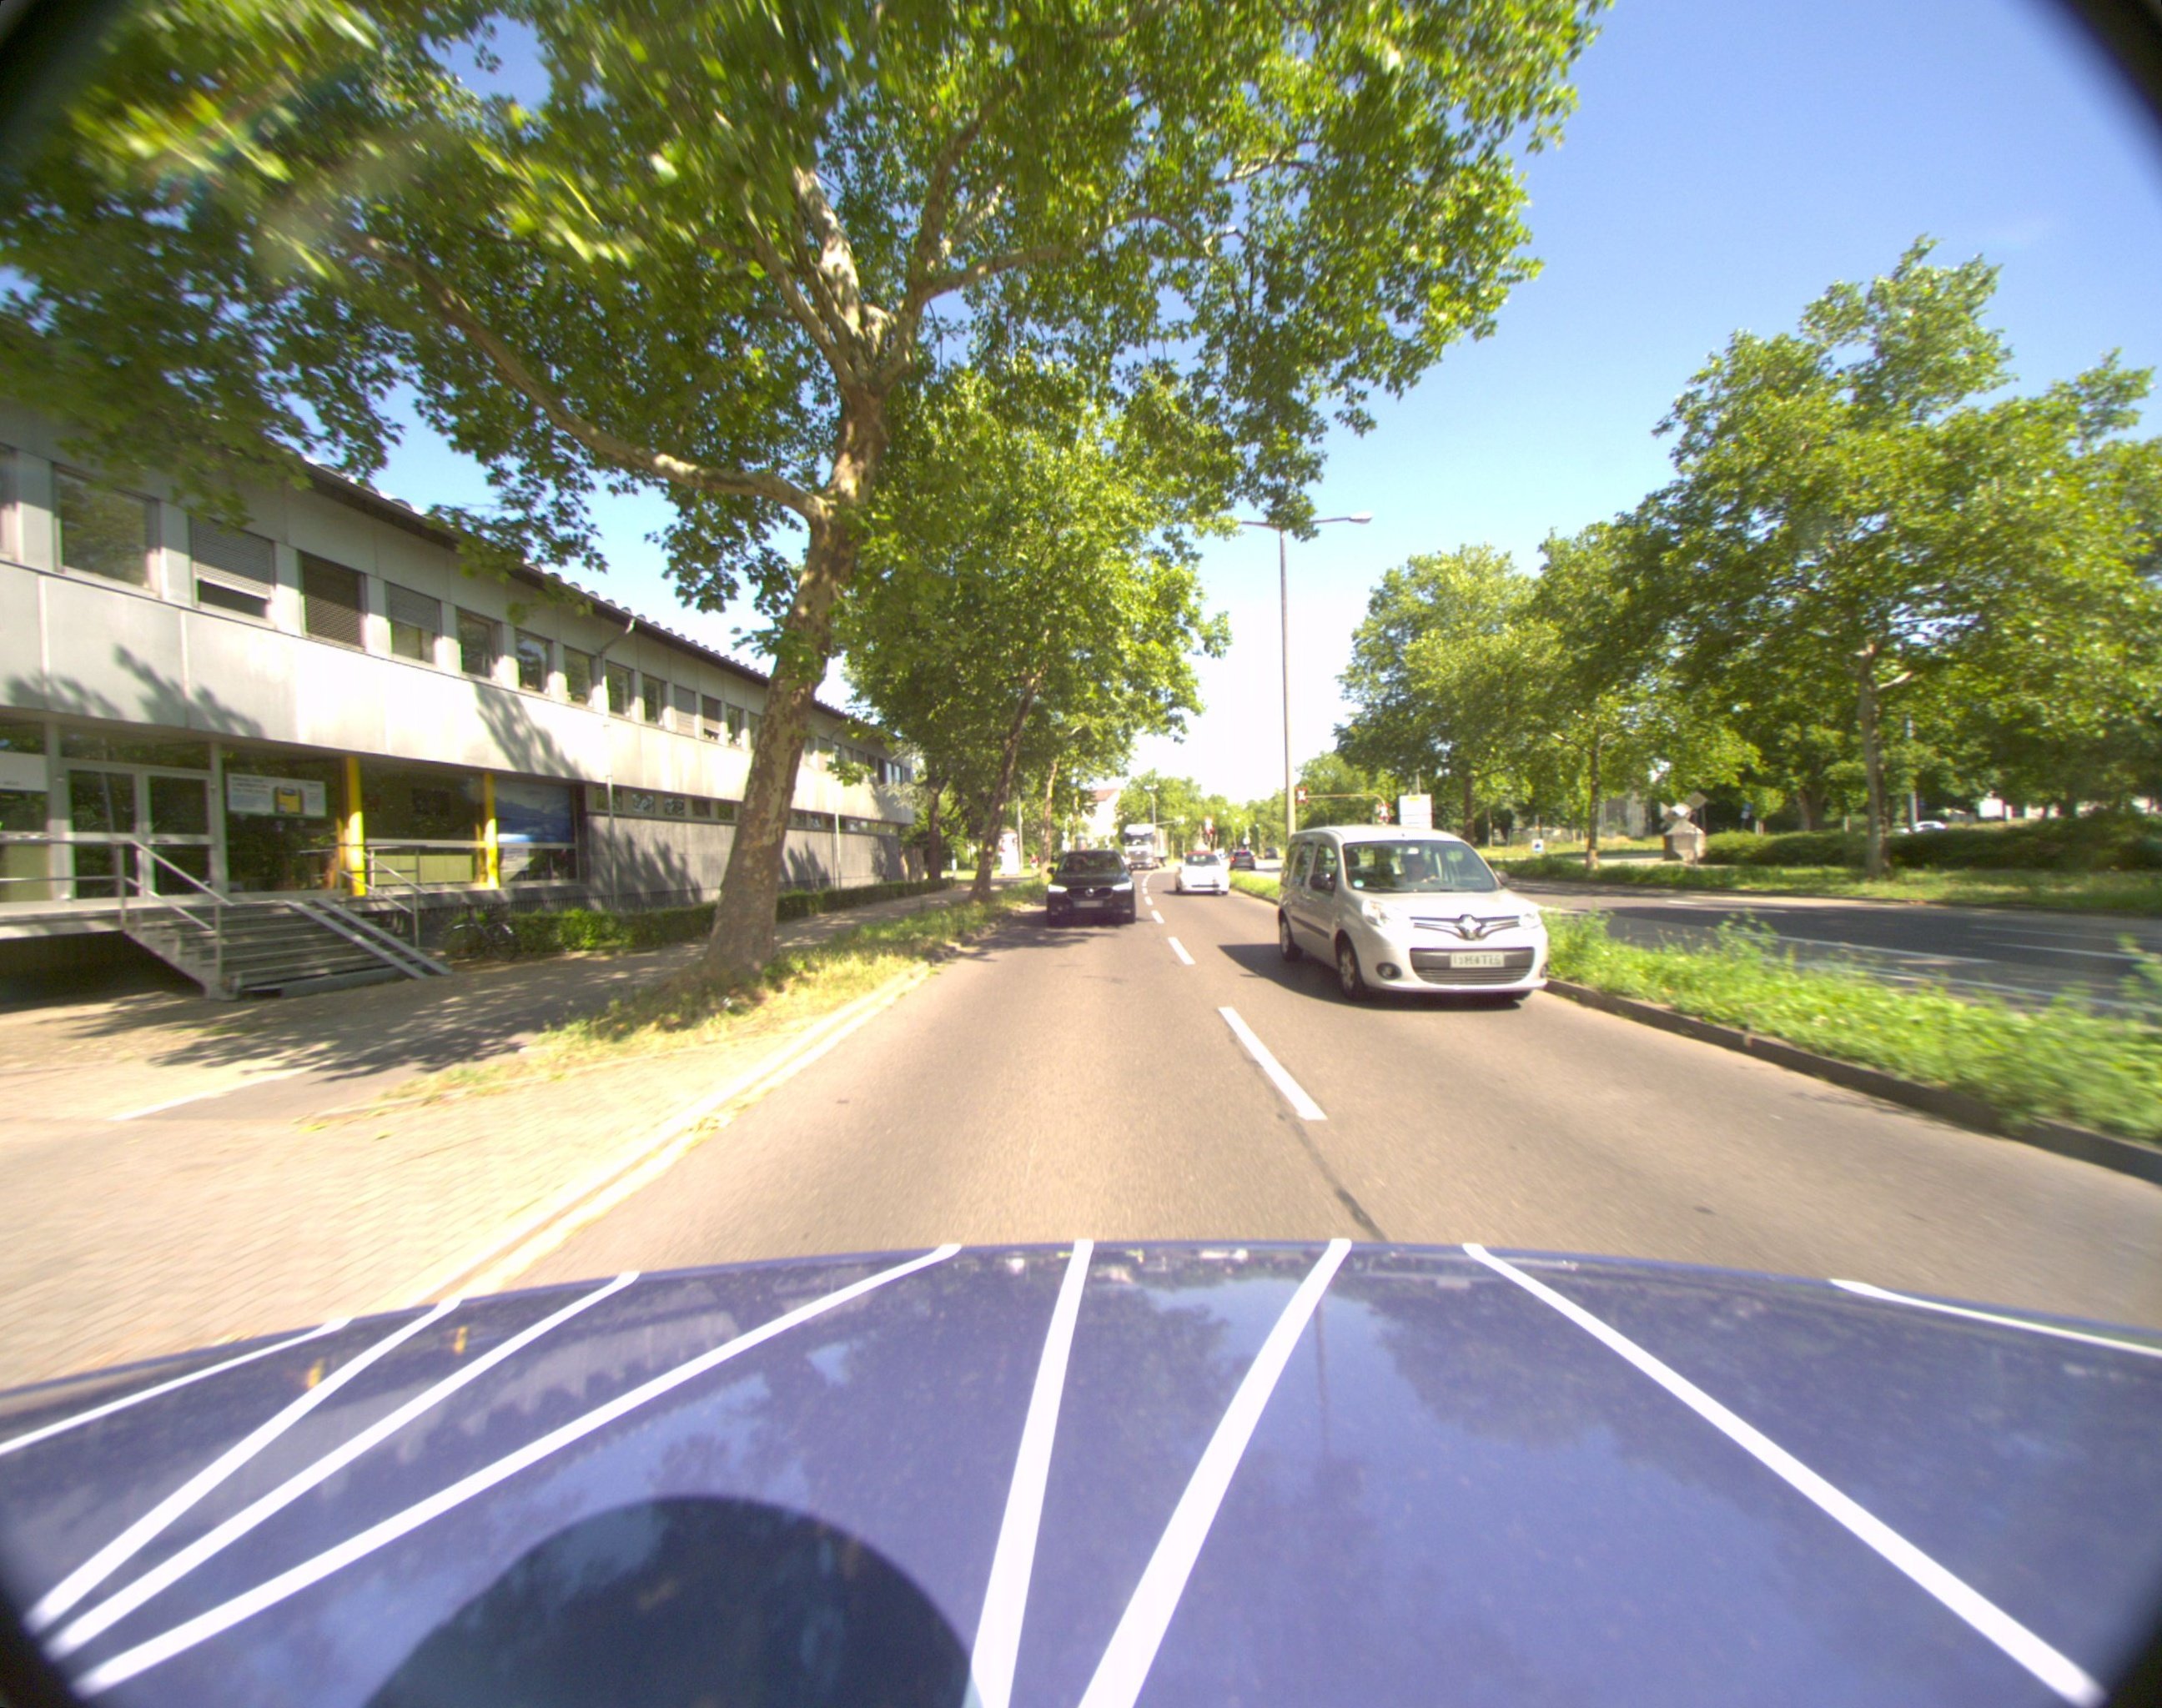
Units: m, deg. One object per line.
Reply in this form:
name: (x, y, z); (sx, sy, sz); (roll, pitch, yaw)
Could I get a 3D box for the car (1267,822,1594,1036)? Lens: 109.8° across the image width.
car: (3.518, 0.632, 8.702); (1.876, 1.829, 4.376); (0, 0, 2)

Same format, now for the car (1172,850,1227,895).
car: (4.214, 0.631, 27.575); (1.688, 1.482, 4.377); (-1, 0, 6)

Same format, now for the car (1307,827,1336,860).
car: (20.485, -0.900, 64.956); (2.063, 2.598, 7.225); (-1, 1, 15)

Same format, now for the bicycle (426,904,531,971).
bicycle: (-10.755, 1.472, 13.566); (1.673, 1.124, 0.509); (-1, 1, 14)

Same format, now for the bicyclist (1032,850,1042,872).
bicyclist: (-3.594, 0.557, 62.100); (0.702, 1.776, 0.810); (-2, 0, 5)

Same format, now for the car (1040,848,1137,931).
car: (0.192, 0.727, 17.775); (1.904, 1.605, 4.873); (-2, 0, 1)

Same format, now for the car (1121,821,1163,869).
car: (5.458, -0.737, 67.017); (2.901, 3.898, 7.146); (-2, 0, 10)

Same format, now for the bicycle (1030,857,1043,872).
bicycle: (-3.601, 0.853, 61.926); (0.692, 1.178, 2.126); (-2, 0, 5)

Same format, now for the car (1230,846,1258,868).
car: (11.665, 0.181, 54.264); (1.696, 1.499, 4.134); (-2, 0, 15)
